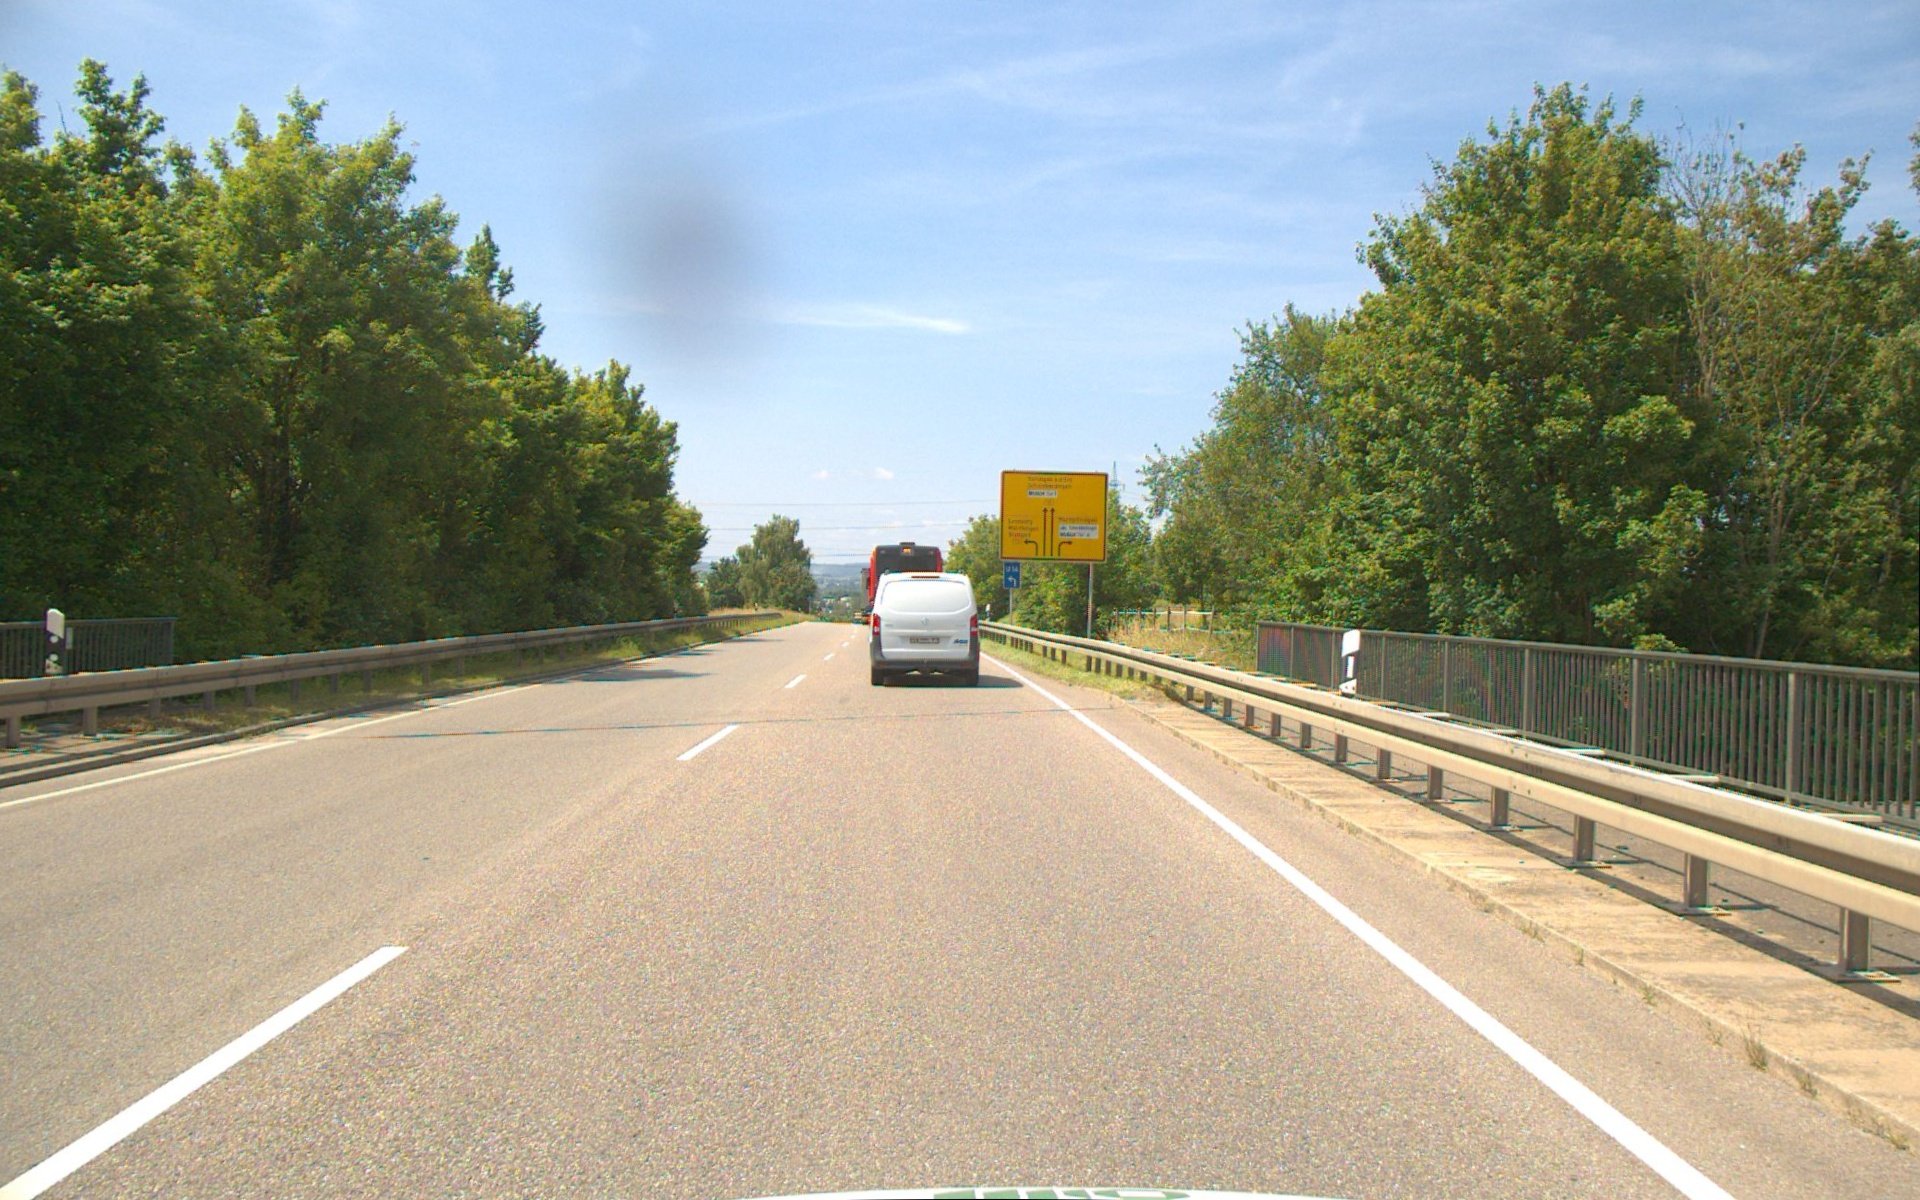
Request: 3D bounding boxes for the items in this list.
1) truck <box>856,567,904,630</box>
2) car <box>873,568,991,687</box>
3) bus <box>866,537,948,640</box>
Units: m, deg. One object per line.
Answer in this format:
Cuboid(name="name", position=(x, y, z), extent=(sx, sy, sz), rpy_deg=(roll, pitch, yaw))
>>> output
Cuboid(name="truck", position=(-6.128, -0.196, 126.553), extent=(3.419, 4.500, 14.894), rpy_deg=(0, 1, -3))
Cuboid(name="car", position=(-0.558, 0.422, 29.036), extent=(1.885, 1.922, 3.998), rpy_deg=(1, 1, -3))
Cuboid(name="bus", position=(-2.150, -0.446, 61.705), extent=(2.692, 3.412, 13.212), rpy_deg=(0, 0, -4))
